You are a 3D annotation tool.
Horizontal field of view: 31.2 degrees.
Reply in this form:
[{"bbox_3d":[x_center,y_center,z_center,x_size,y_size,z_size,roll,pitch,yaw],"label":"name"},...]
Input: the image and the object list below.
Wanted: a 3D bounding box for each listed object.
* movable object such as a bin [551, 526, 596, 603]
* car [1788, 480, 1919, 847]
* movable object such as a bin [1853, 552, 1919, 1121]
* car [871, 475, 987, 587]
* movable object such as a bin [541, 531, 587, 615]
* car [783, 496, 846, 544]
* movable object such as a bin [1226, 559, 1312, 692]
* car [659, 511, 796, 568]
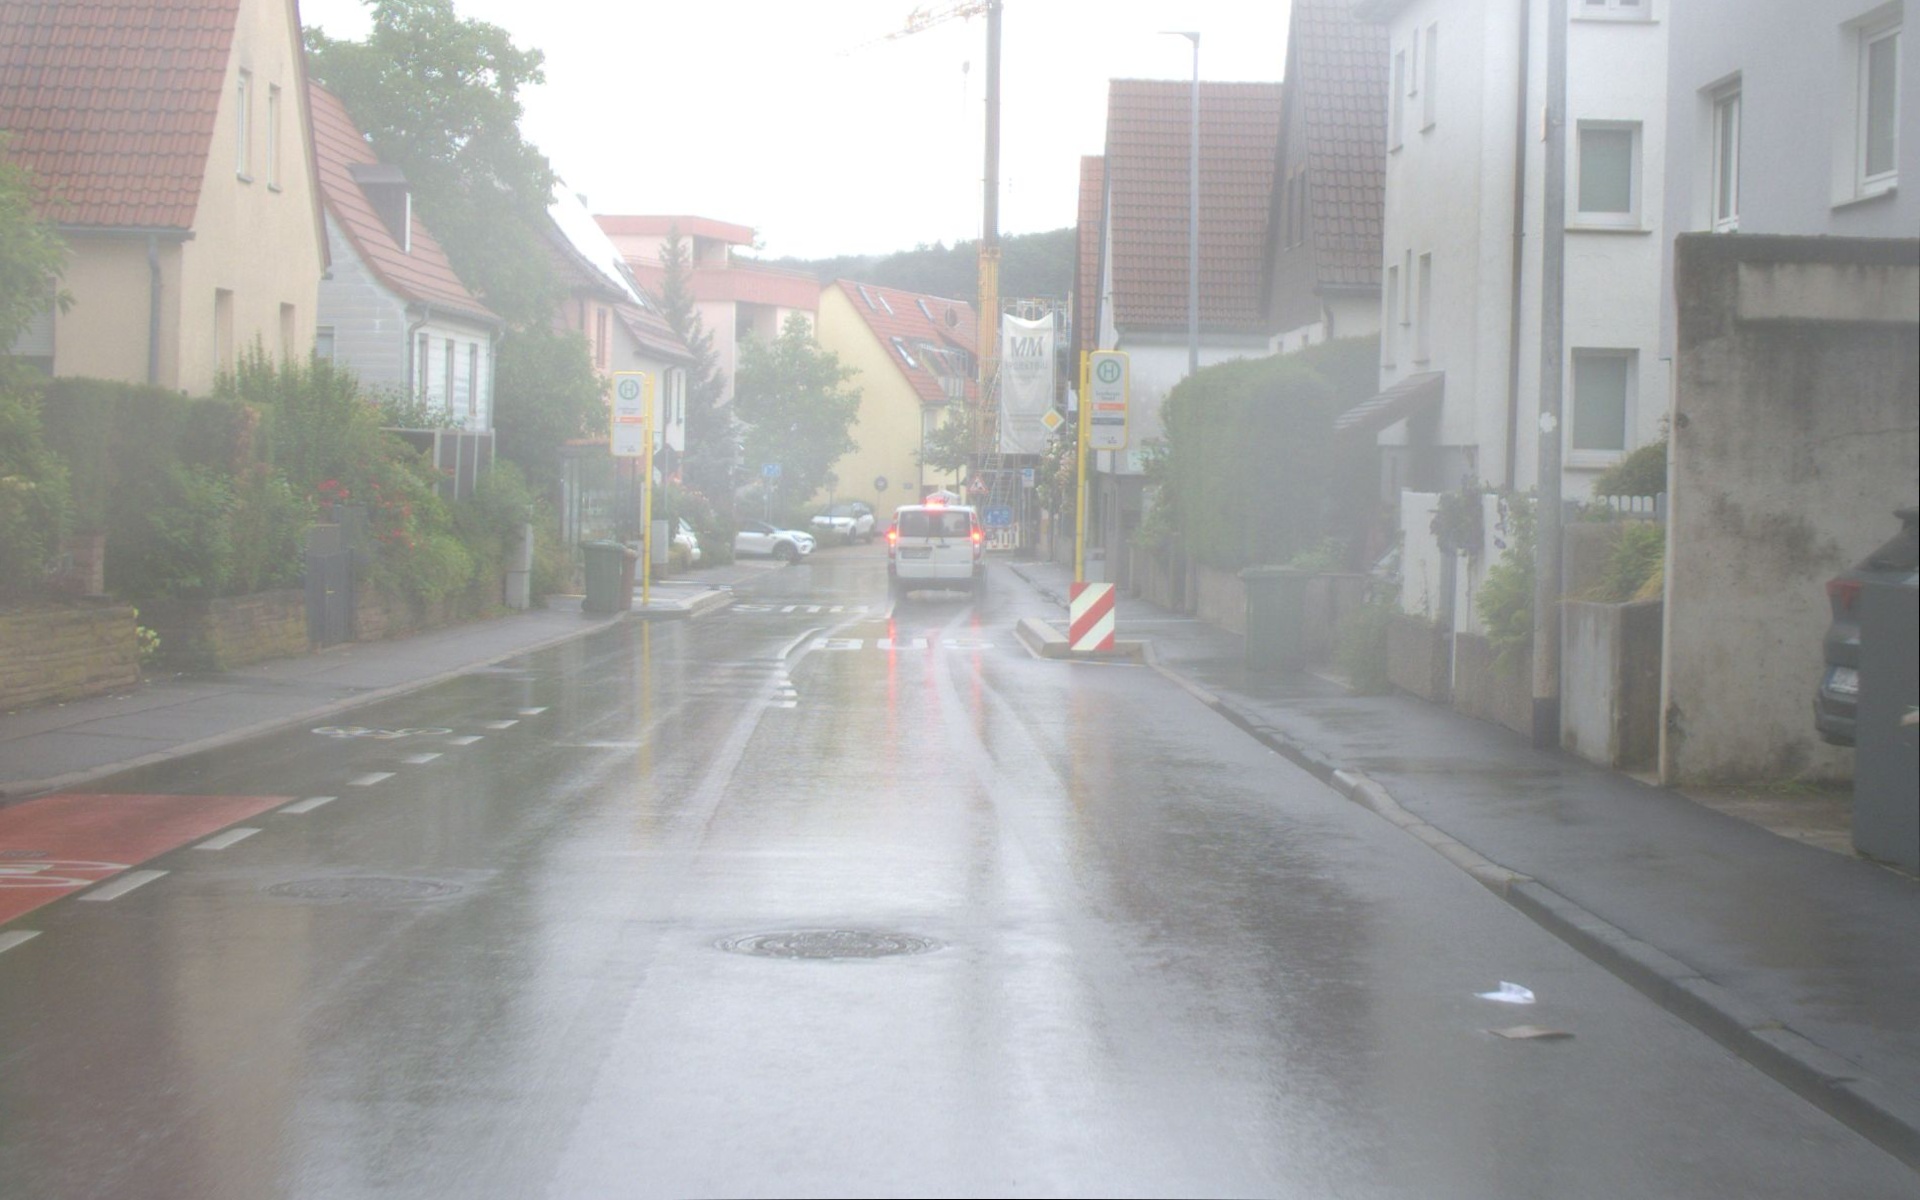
[{"bbox_3d":[-6.439,-0.593,57.288,0.682,1.219,0.639,2,4,-6],"label":"movable object such as a bin"},{"bbox_3d":[5.754,0.331,15.908,3.373,1.557,1.515,3,4,-1],"label":"car"},{"bbox_3d":[2.584,0.556,7.982,0.745,1.274,0.882,1,4,0],"label":"movable object such as a bin"},{"bbox_3d":[-0.595,-1.394,67.876,2.117,1.881,4.503,3,4,0],"label":"car"},{"bbox_3d":[-6.493,-0.443,56.337,0.682,1.318,0.639,2,4,-6],"label":"movable object such as a bin"},{"bbox_3d":[-5.522,-3.063,130.998,1.842,1.573,4.290,3,4,4],"label":"car"},{"bbox_3d":[3.143,0.252,35.059,0.785,1.272,0.714,3,4,3],"label":"movable object such as a bin"},{"bbox_3d":[-7.775,-2.035,115.106,4.276,1.573,1.848,3,4,5],"label":"car"}]
